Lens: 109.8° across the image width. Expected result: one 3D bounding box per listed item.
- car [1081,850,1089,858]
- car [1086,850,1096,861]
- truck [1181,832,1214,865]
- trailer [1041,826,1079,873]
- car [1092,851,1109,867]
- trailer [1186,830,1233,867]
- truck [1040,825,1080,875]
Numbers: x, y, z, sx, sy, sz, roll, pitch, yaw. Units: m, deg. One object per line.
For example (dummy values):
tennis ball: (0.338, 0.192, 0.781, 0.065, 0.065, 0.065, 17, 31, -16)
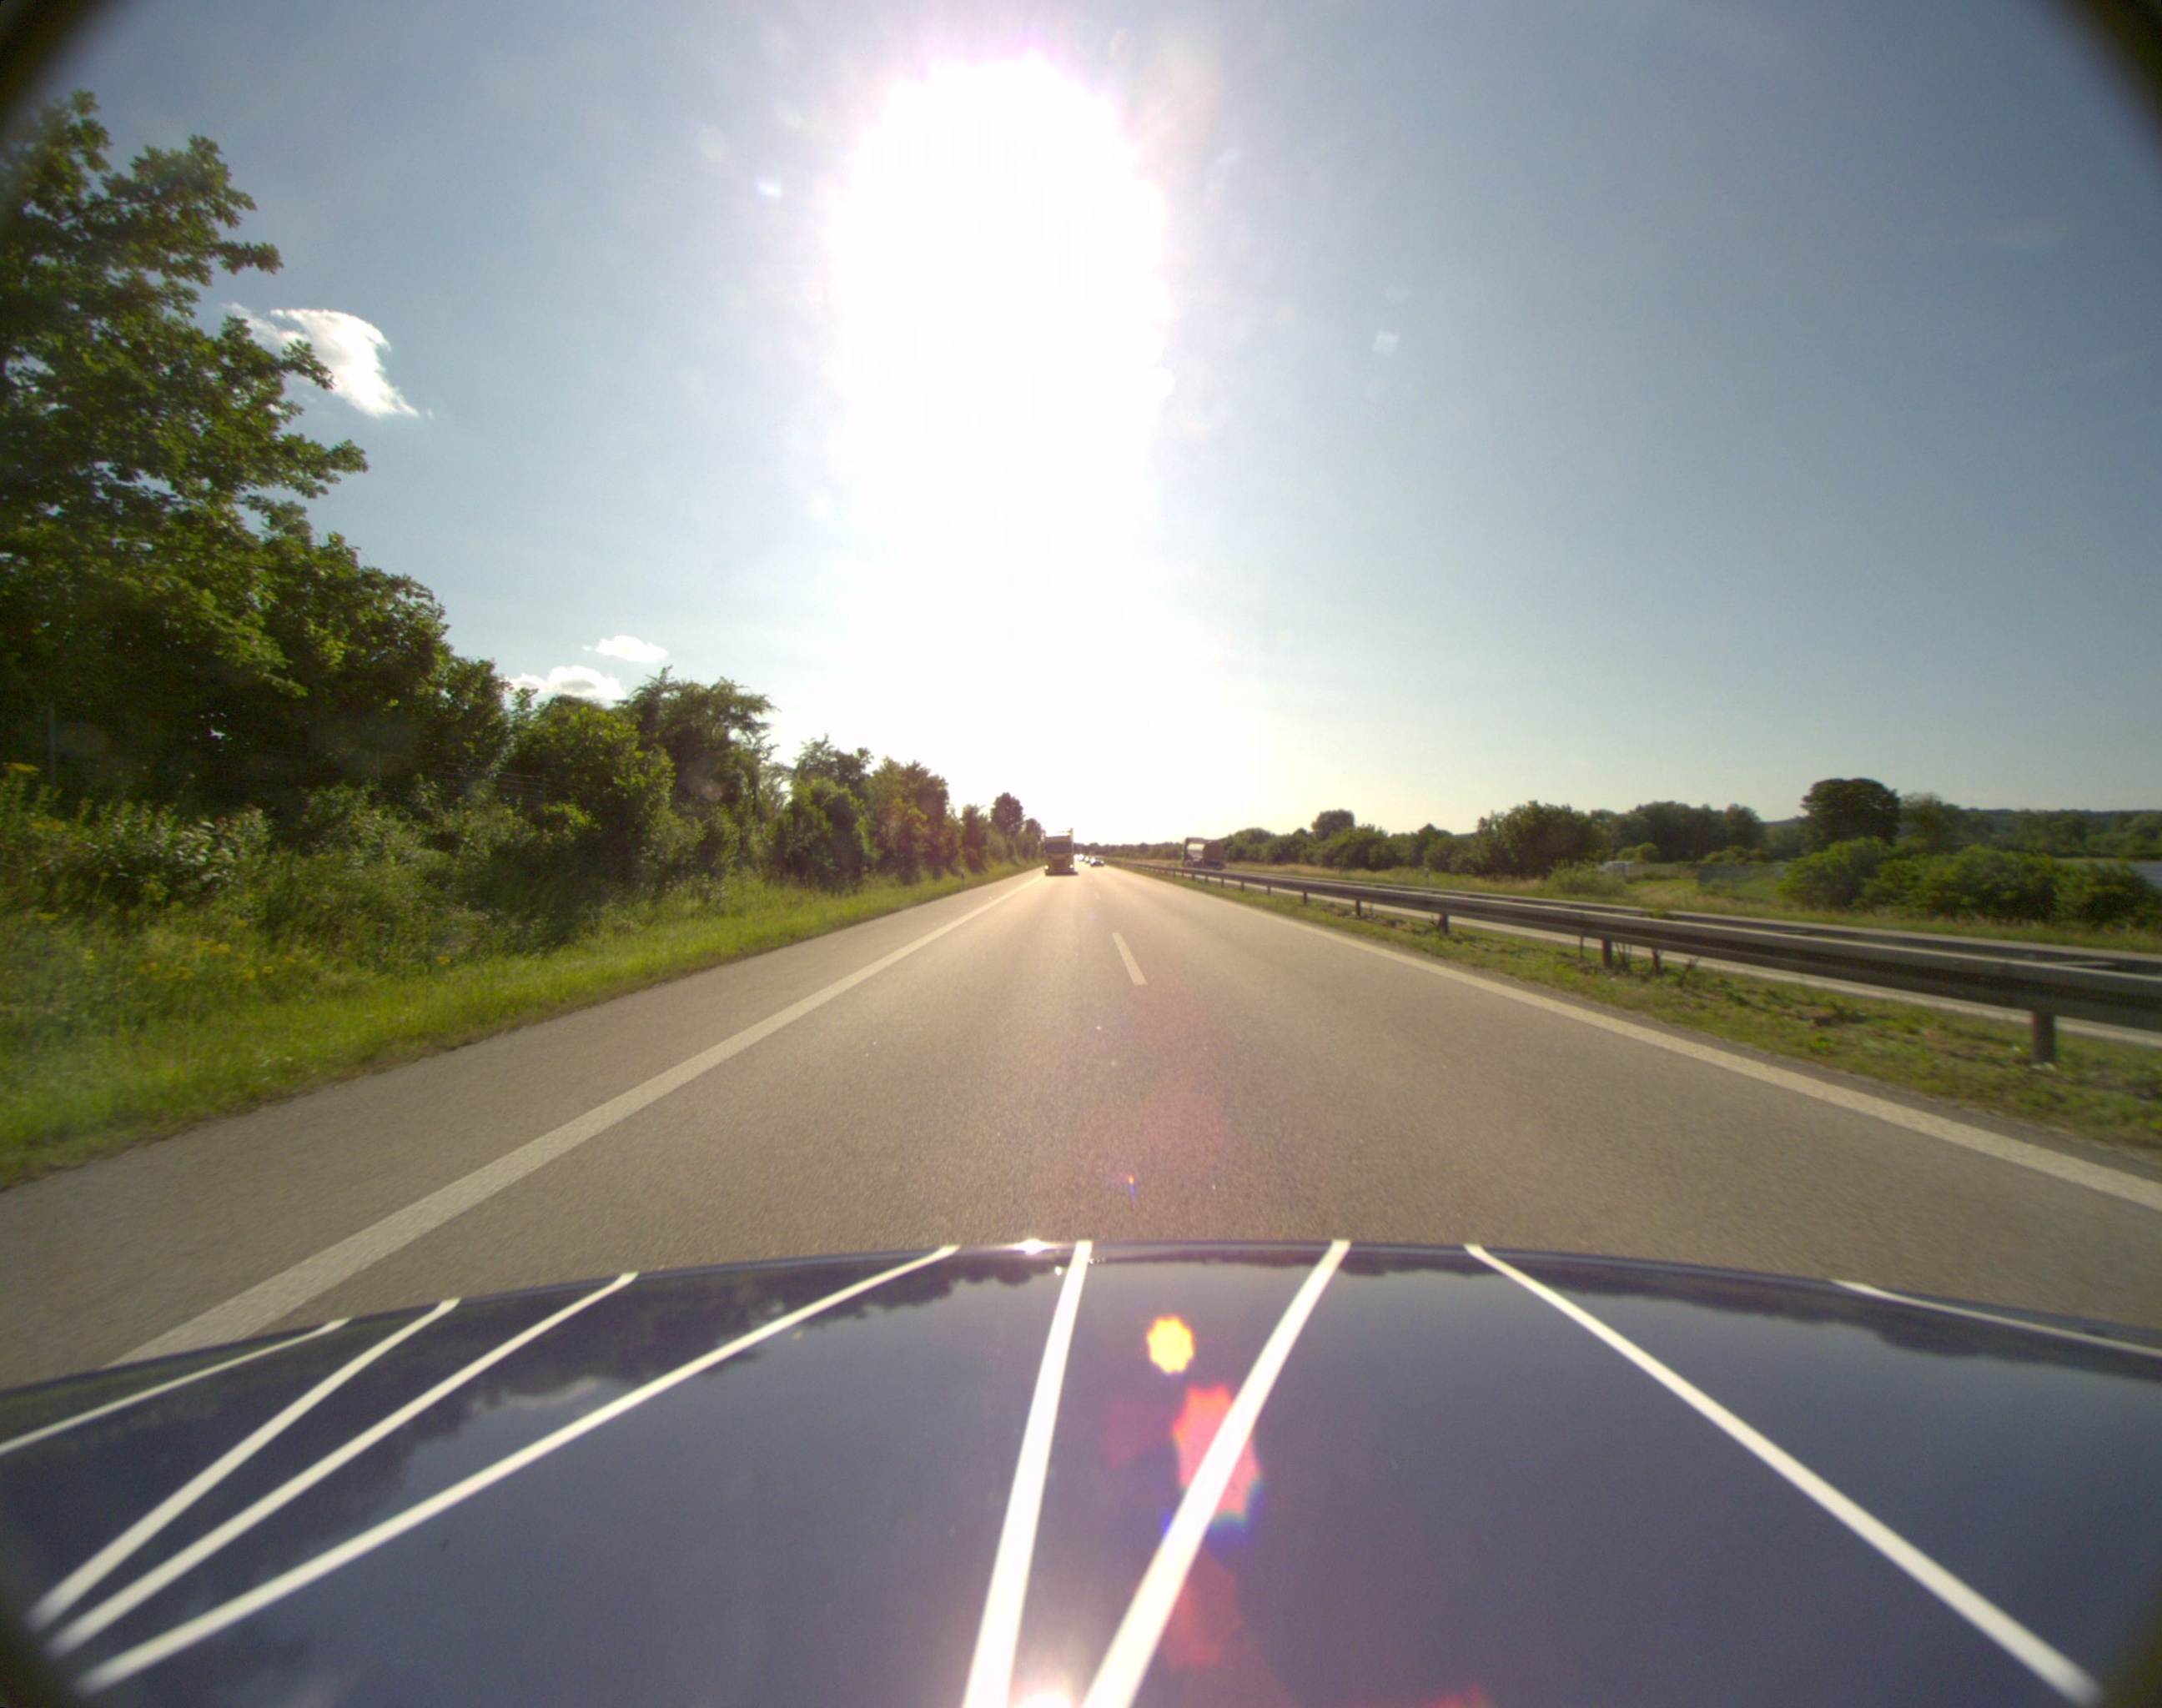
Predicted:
car: (0.995, -0.049, 188.329, 1.998, 2.002, 4.000, -2, 1, 1)
car: (1.925, 0.303, 146.270, 1.998, 2.002, 4.000, -2, 1, 1)
truck: (13.848, -0.651, 90.749, 2.963, 3.710, 5.567, 0, 1, -1)
trailer: (-1.997, -0.441, 74.024, 3.193, 4.036, 13.183, -2, 1, -1)
car: (2.552, 0.629, 100.915, 1.999, 2.002, 4.357, -2, 1, -1)
trailer: (13.900, -0.606, 83.511, 2.988, 3.709, 12.417, 0, 1, 0)
truck: (-1.849, -0.377, 67.009, 3.177, 4.090, 6.386, -2, 1, -2)
